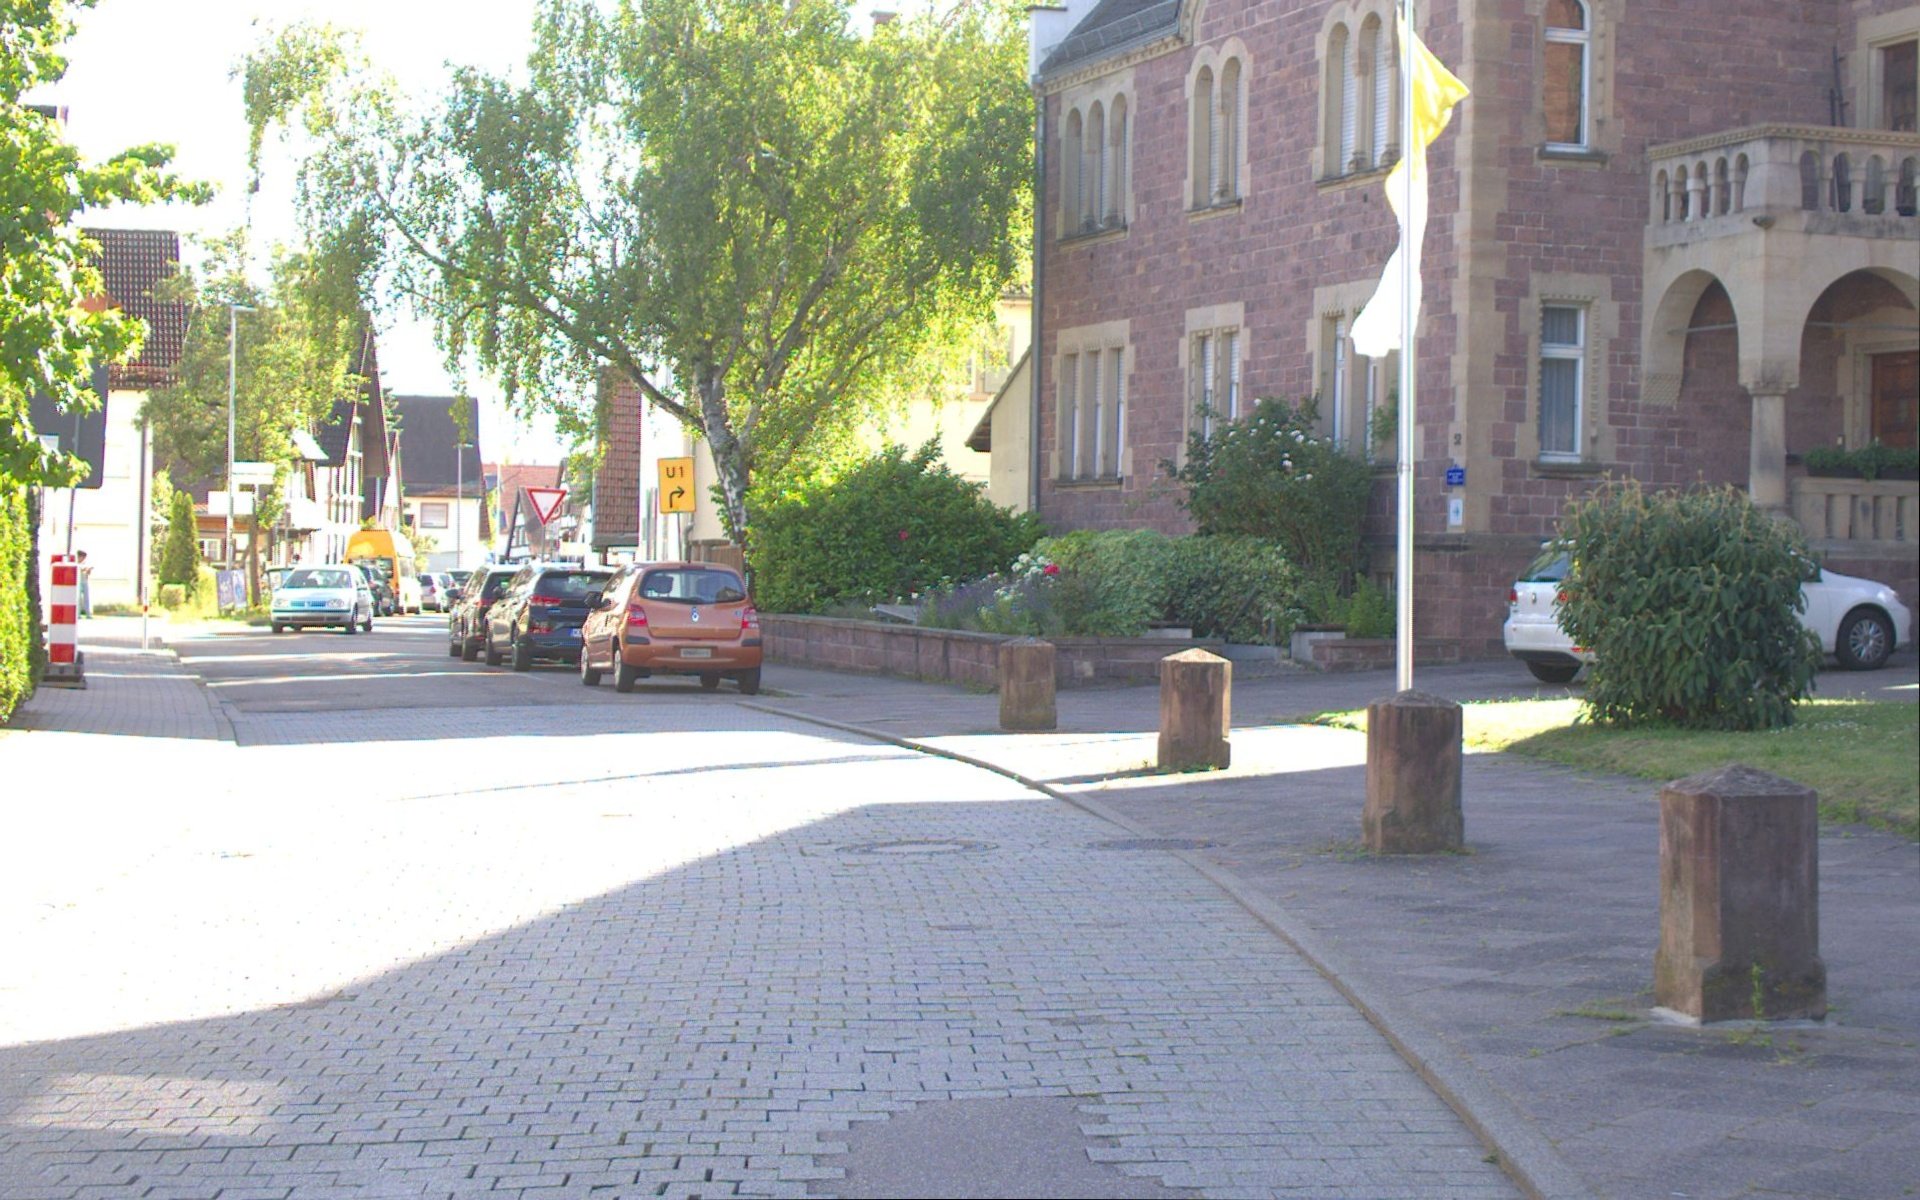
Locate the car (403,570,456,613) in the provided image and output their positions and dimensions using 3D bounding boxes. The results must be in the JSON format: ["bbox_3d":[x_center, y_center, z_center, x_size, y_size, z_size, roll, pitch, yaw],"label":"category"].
[{"bbox_3d":[-18.807,-0.302,121.975,1.645,1.428,3.615,2,0,-6],"label":"car"}]

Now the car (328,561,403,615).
[{"bbox_3d":[-18.555,-0.365,107.358,1.806,1.616,3.881,2,0,-3],"label":"car"}]

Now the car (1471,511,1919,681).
[{"bbox_3d":[7.283,-0.046,34.077,3.897,1.491,1.905,-2,0,-20],"label":"car"}]

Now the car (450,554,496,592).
[{"bbox_3d":[-19.139,-1.047,135.268,1.588,1.438,3.615,2,0,-6],"label":"car"}]

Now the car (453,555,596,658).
[{"bbox_3d":[-6.662,0.068,52.288,1.807,1.431,4.287,2,1,-11],"label":"car"}]

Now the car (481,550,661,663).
[{"bbox_3d":[-5.443,0.058,47.712,1.807,1.431,4.287,2,1,-15],"label":"car"}]

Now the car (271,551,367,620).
[{"bbox_3d":[-13.454,-0.313,72.282,1.670,1.398,3.893,0,1,-6],"label":"car"}]

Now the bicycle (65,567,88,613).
[{"bbox_3d":[-20.878,-0.227,81.246,0.423,1.049,1.381,1,-1,-11],"label":"bicycle"}]

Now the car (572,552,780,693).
[{"bbox_3d":[-3.319,0.220,39.523,1.647,1.474,3.935,2,1,-15],"label":"car"}]

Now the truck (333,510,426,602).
[{"bbox_3d":[-19.005,-1.410,112.846,2.268,2.859,5.783,2,0,-3],"label":"truck"}]

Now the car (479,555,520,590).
[{"bbox_3d":[-19.702,-1.158,147.185,1.588,1.438,3.615,2,0,-6],"label":"car"}]
